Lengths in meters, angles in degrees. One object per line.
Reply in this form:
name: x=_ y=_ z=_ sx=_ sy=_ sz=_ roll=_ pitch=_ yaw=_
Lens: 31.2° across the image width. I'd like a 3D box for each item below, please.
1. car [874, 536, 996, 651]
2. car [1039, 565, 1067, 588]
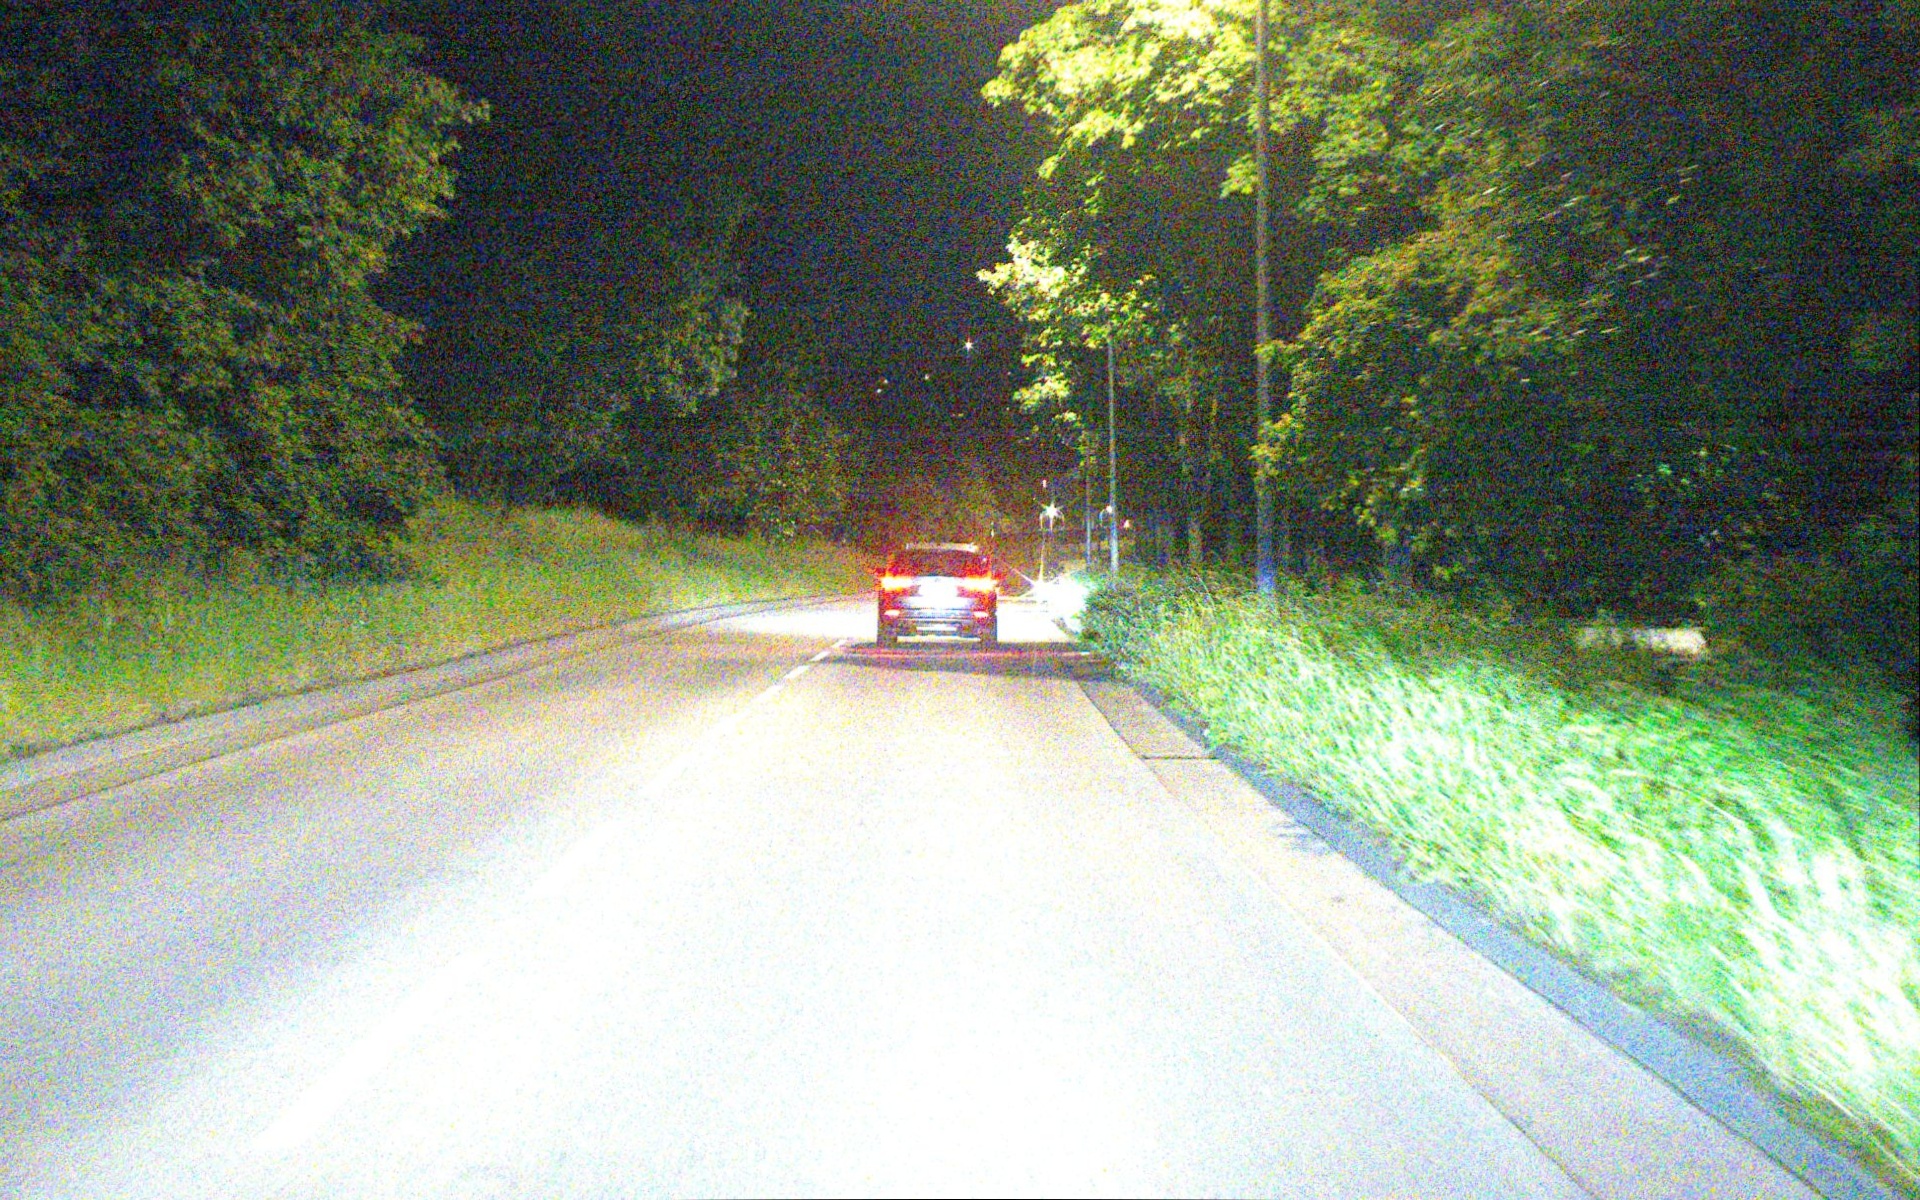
car: x=-0.381 y=-0.127 z=52.313 sx=1.763 sy=1.636 sz=3.723 roll=1 pitch=2 yaw=0
car: x=5.951 y=-1.504 z=220.060 sx=1.687 sy=1.452 sz=4.000 roll=1 pitch=0 yaw=2
